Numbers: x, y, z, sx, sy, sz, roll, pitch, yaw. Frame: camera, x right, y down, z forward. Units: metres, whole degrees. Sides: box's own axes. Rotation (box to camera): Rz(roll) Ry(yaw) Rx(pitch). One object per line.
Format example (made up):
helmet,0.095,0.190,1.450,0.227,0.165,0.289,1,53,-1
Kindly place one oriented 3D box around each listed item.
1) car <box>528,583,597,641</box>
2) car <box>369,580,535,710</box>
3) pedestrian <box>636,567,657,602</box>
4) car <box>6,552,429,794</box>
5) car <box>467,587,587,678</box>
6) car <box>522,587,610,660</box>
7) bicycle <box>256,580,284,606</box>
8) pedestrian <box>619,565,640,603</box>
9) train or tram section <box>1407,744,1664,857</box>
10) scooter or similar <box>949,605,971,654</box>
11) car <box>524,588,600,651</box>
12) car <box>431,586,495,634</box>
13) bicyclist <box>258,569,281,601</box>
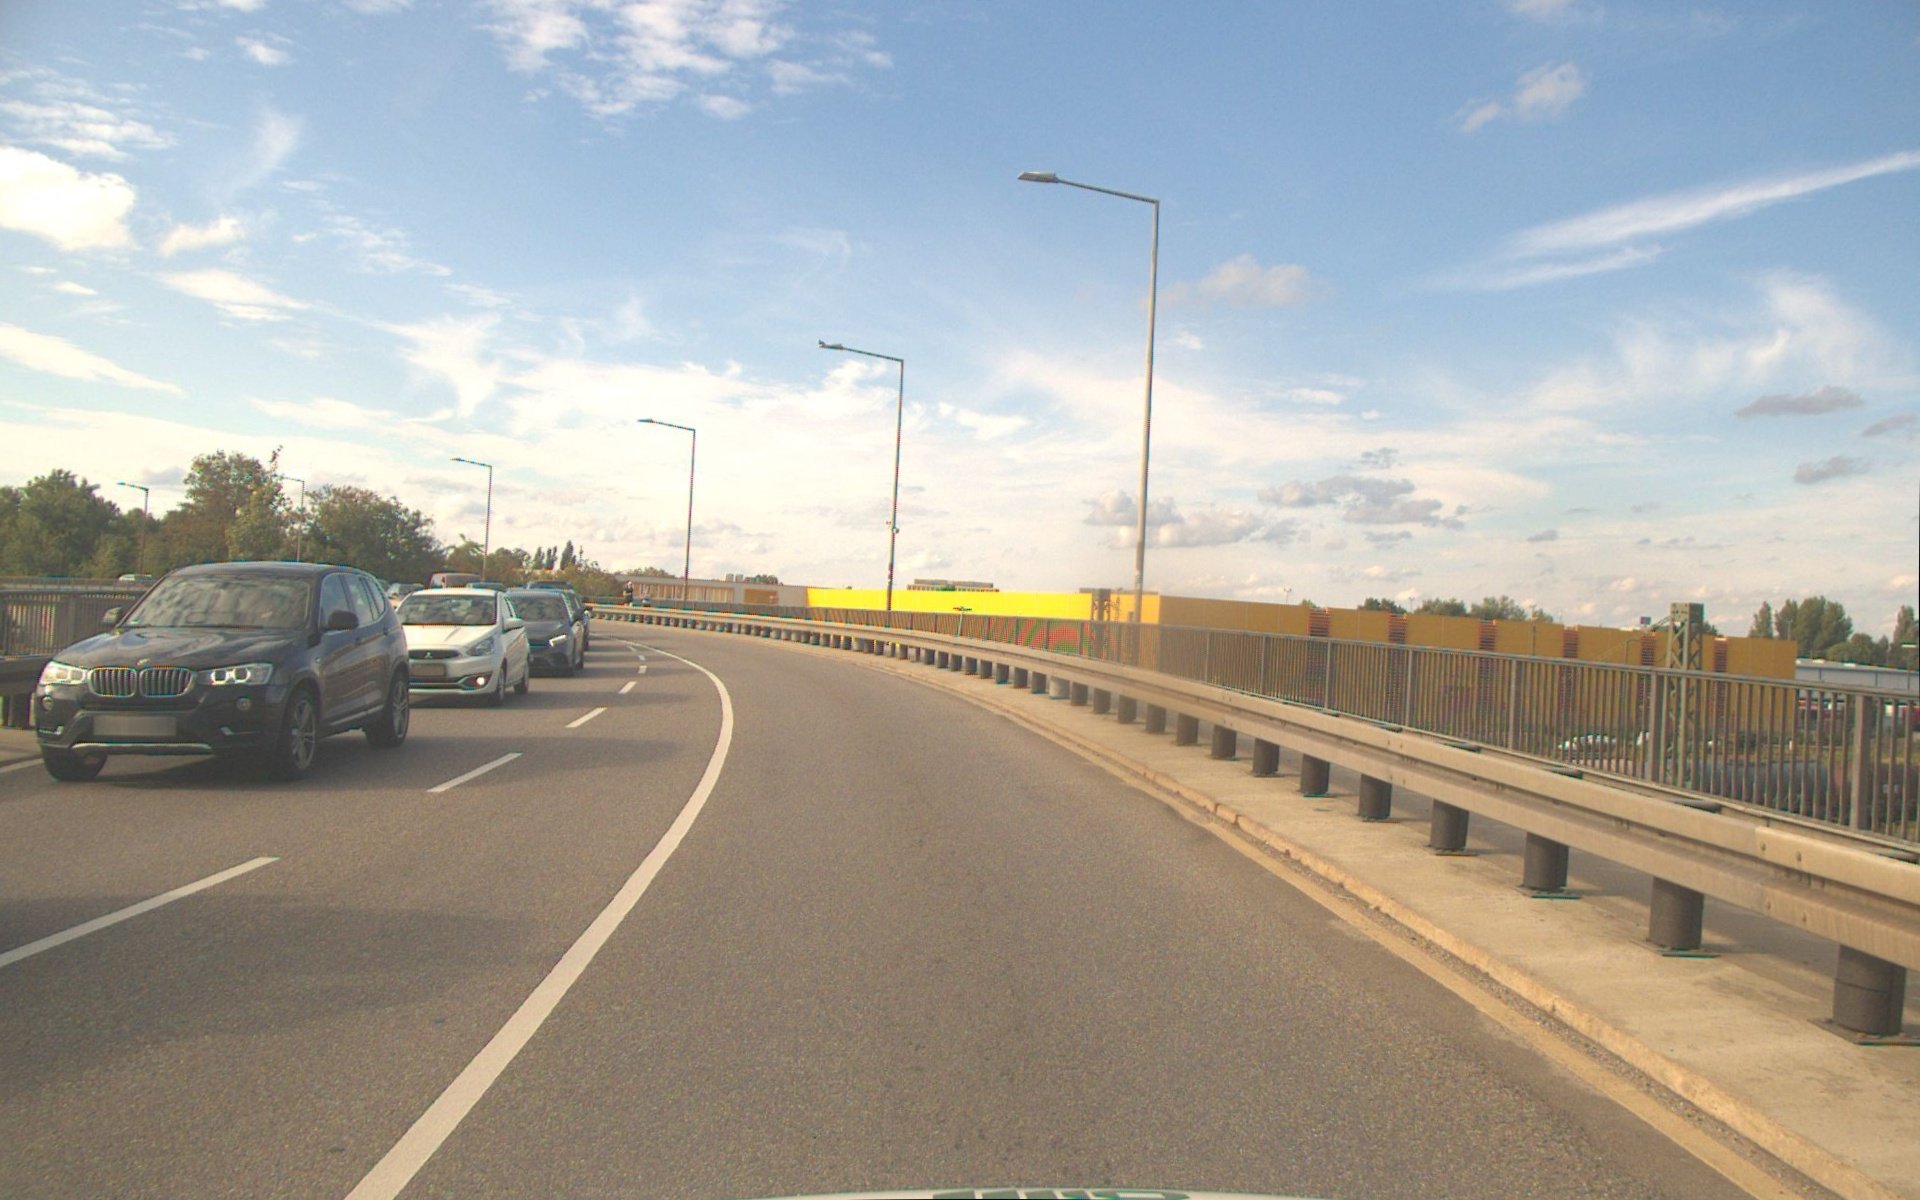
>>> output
car,-12.414,0.331,51.517,1.800,1.701,4.843,1,0,-17
car,-6.704,0.542,22.173,1.652,1.572,3.913,1,0,-10
pedestrian,-14.170,-0.708,74.701,0.668,1.570,0.952,1,0,-27
car,-5.968,0.508,13.973,1.833,1.695,4.624,1,0,-5
car,-7.598,0.524,29.365,1.781,1.482,4.313,1,0,-11
car,-8.808,0.481,36.744,1.731,1.516,4.372,1,0,-16
bicycle,-36.071,-0.371,86.462,0.760,1.355,1.886,1,0,-43
pedestrian,-14.835,-0.720,74.213,0.668,1.690,0.858,1,0,-27
train or tram section,30.505,10.358,86.981,16.530,4.795,3.063,1,0,-32
scooter or similar,-0.003,0.718,40.868,0.261,1.182,1.184,1,0,-14
car,-10.271,0.475,42.492,1.731,1.516,4.426,1,0,-16
car,-21.114,0.384,70.123,1.981,1.936,4.830,1,0,-24
bicyclist,-36.134,-0.778,86.579,0.763,1.690,1.102,1,-1,-44
